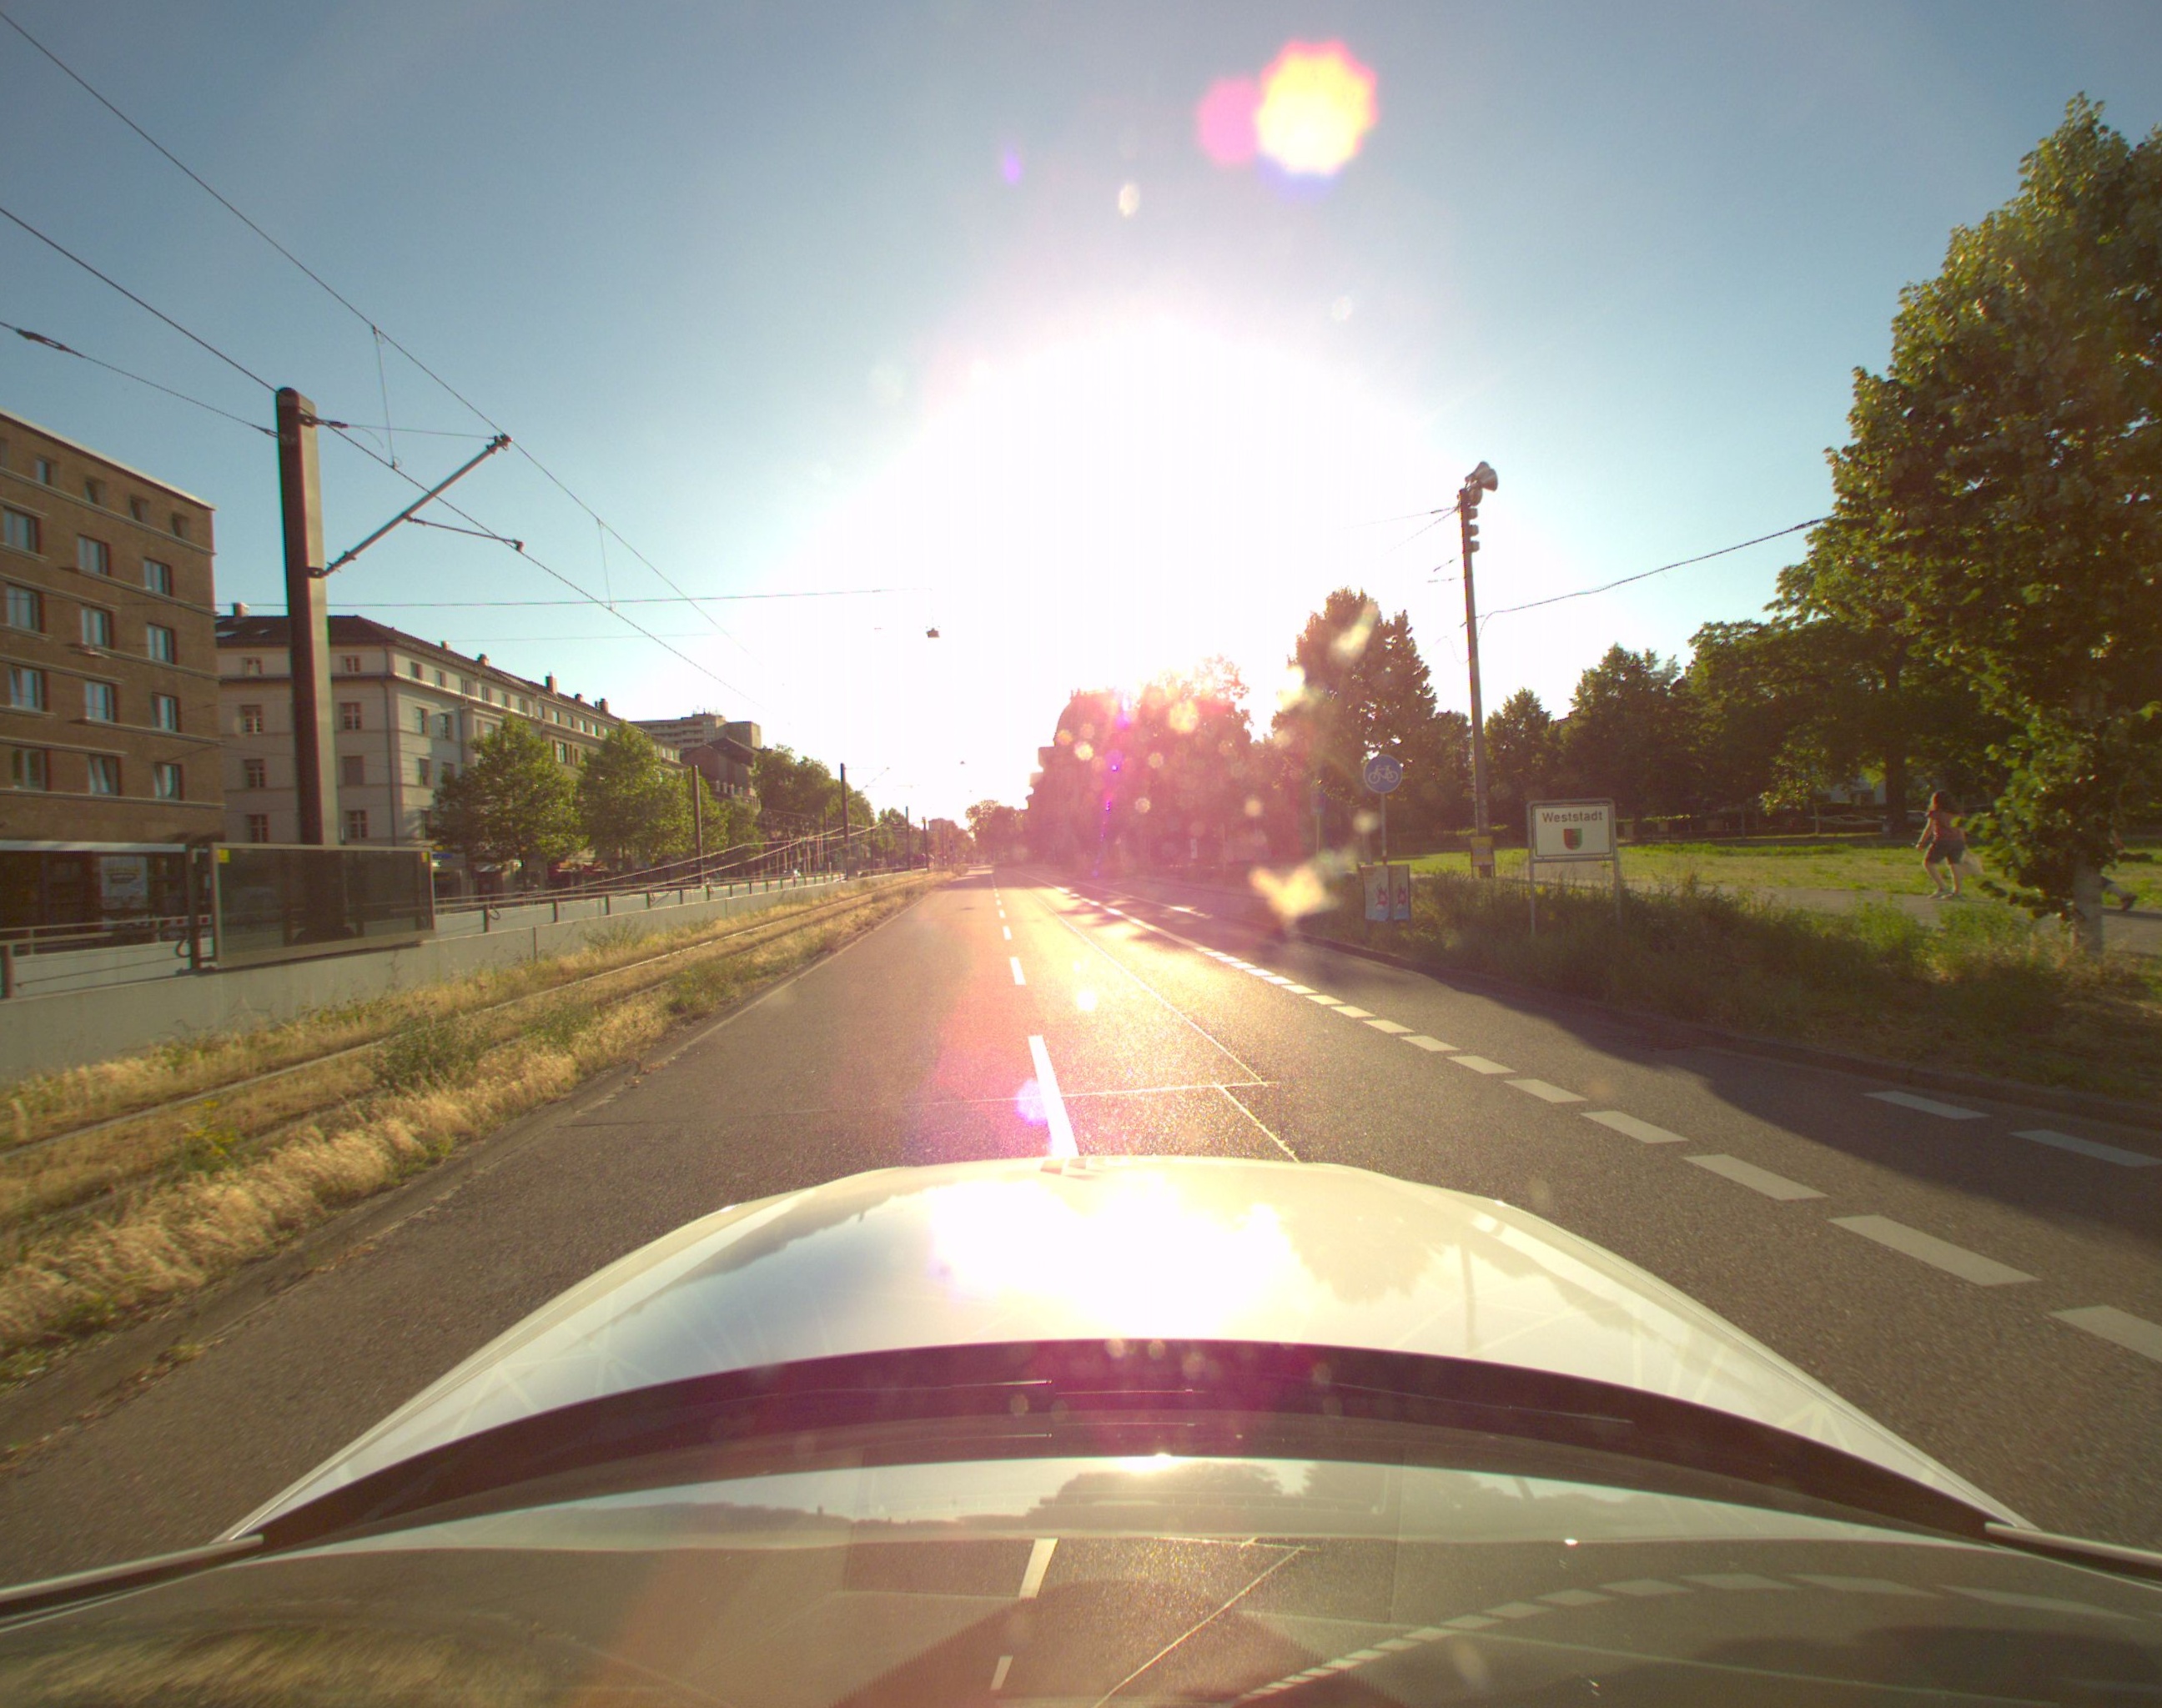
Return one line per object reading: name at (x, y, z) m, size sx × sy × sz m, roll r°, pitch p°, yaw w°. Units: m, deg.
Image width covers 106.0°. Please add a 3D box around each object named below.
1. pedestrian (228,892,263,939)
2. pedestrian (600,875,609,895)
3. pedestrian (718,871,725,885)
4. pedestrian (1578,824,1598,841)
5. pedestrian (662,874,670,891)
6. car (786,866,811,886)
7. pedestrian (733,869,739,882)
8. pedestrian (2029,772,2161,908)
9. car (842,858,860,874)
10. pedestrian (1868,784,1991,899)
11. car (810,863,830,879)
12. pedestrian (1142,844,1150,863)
pedestrian at (-36.892, 2.704, 35.971) m, size 0.717 × 2.013 × 0.726 m, roll -3°, pitch 0°, yaw -9°
pedestrian at (-42.325, 2.773, 72.352) m, size 0.489 × 1.708 × 0.548 m, roll -3°, pitch 0°, yaw -6°
pedestrian at (-43.388, 2.890, 98.352) m, size 0.489 × 1.708 × 0.548 m, roll -3°, pitch 0°, yaw -6°
pedestrian at (36.592, -1.526, 58.780) m, size 0.809 × 1.187 × 0.843 m, roll -3°, pitch 0°, yaw -6°
pedestrian at (-43.431, 2.969, 85.288) m, size 0.489 × 1.708 × 0.548 m, roll -3°, pitch 0°, yaw -6°
car at (-31.529, 2.423, 90.866) m, size 1.995 × 2.013 × 3.984 m, roll -3°, pitch 0°, yaw -11°
pedestrian at (-45.812, 2.804, 108.066) m, size 0.489 × 1.708 × 0.548 m, roll -3°, pitch 0°, yaw -6°
pedestrian at (13.507, -0.189, 10.839) m, size 0.707 × 1.696 × 0.894 m, roll -3°, pitch 1°, yaw -6°
car at (-32.664, 1.685, 115.577) m, size 1.995 × 2.013 × 3.984 m, roll -3°, pitch 0°, yaw -11°
pedestrian at (13.351, -0.205, 12.845) m, size 0.839 × 1.696 × 1.016 m, roll -3°, pitch 1°, yaw -1°
car at (-39.715, 2.509, 123.987) m, size 1.992 × 2.244 × 3.991 m, roll -3°, pitch 0°, yaw -7°
pedestrian at (6.402, -0.046, 79.861) m, size 0.682 × 1.822 × 0.535 m, roll -3°, pitch 0°, yaw -2°
